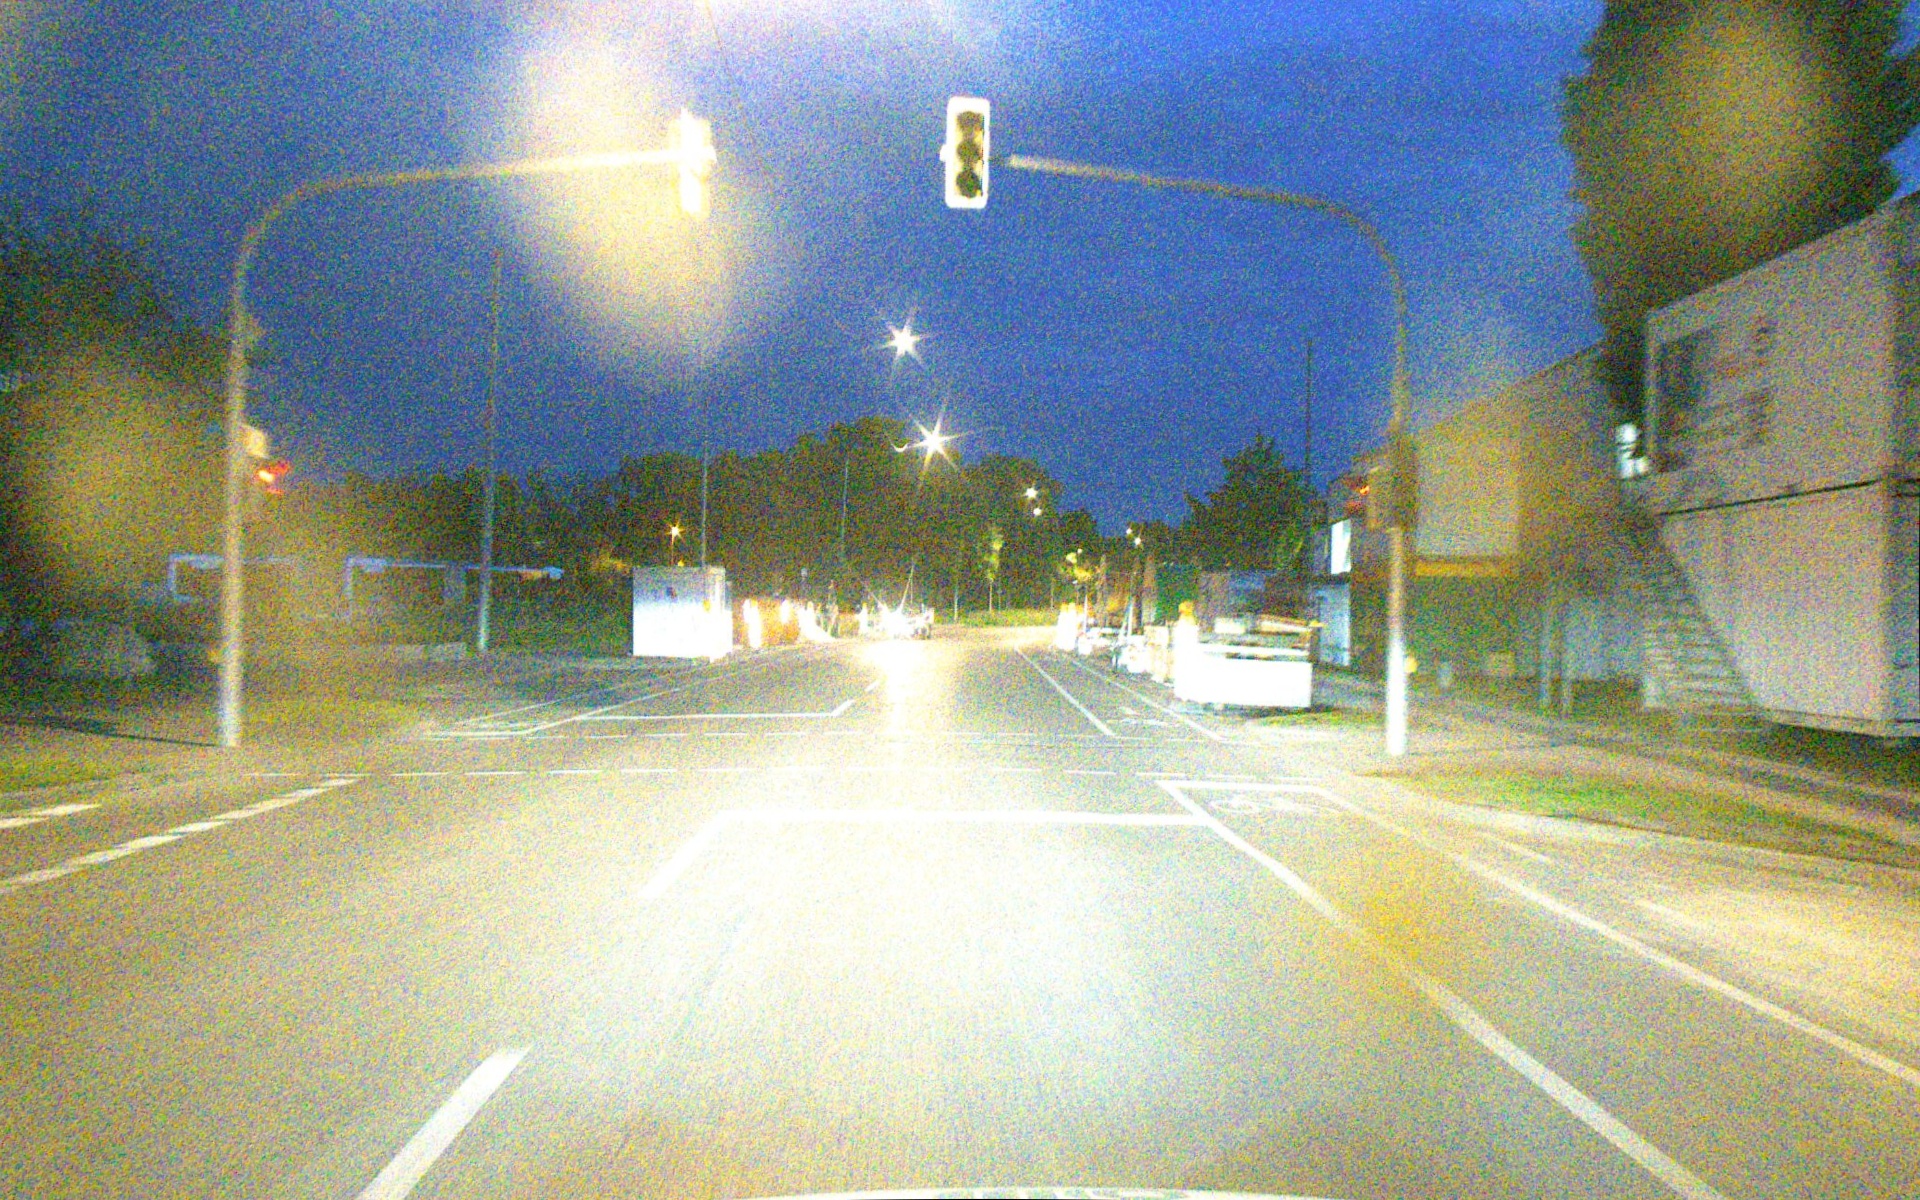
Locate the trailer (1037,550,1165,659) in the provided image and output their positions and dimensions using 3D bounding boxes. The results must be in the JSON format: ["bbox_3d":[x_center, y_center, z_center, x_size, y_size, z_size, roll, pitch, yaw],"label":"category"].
[{"bbox_3d":[4.525,0.190,54.142,3.412,3.276,4.861,2,-1,-3],"label":"trailer"}]

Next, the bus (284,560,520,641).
[{"bbox_3d":[-24.214,0.037,72.943,2.949,3.260,12.679,0,0,17],"label":"bus"}]

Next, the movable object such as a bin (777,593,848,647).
[{"bbox_3d":[-6.776,0.891,76.507,1.951,2.418,4.706,0,0,12],"label":"movable object such as a bin"}]

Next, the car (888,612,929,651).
[{"bbox_3d":[-2.227,1.368,71.816,1.662,1.604,2.957,-2,0,0],"label":"car"}]

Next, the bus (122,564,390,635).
[{"bbox_3d":[-32.328,-0.004,76.845,2.888,3.035,12.254,0,0,29],"label":"bus"}]

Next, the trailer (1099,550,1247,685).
[{"bbox_3d":[4.919,0.435,39.016,2.562,2.895,4.705,2,-1,-3],"label":"trailer"}]

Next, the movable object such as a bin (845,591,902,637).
[{"bbox_3d":[-4.609,0.776,88.792,1.951,2.418,4.705,0,-1,12],"label":"movable object such as a bin"}]
